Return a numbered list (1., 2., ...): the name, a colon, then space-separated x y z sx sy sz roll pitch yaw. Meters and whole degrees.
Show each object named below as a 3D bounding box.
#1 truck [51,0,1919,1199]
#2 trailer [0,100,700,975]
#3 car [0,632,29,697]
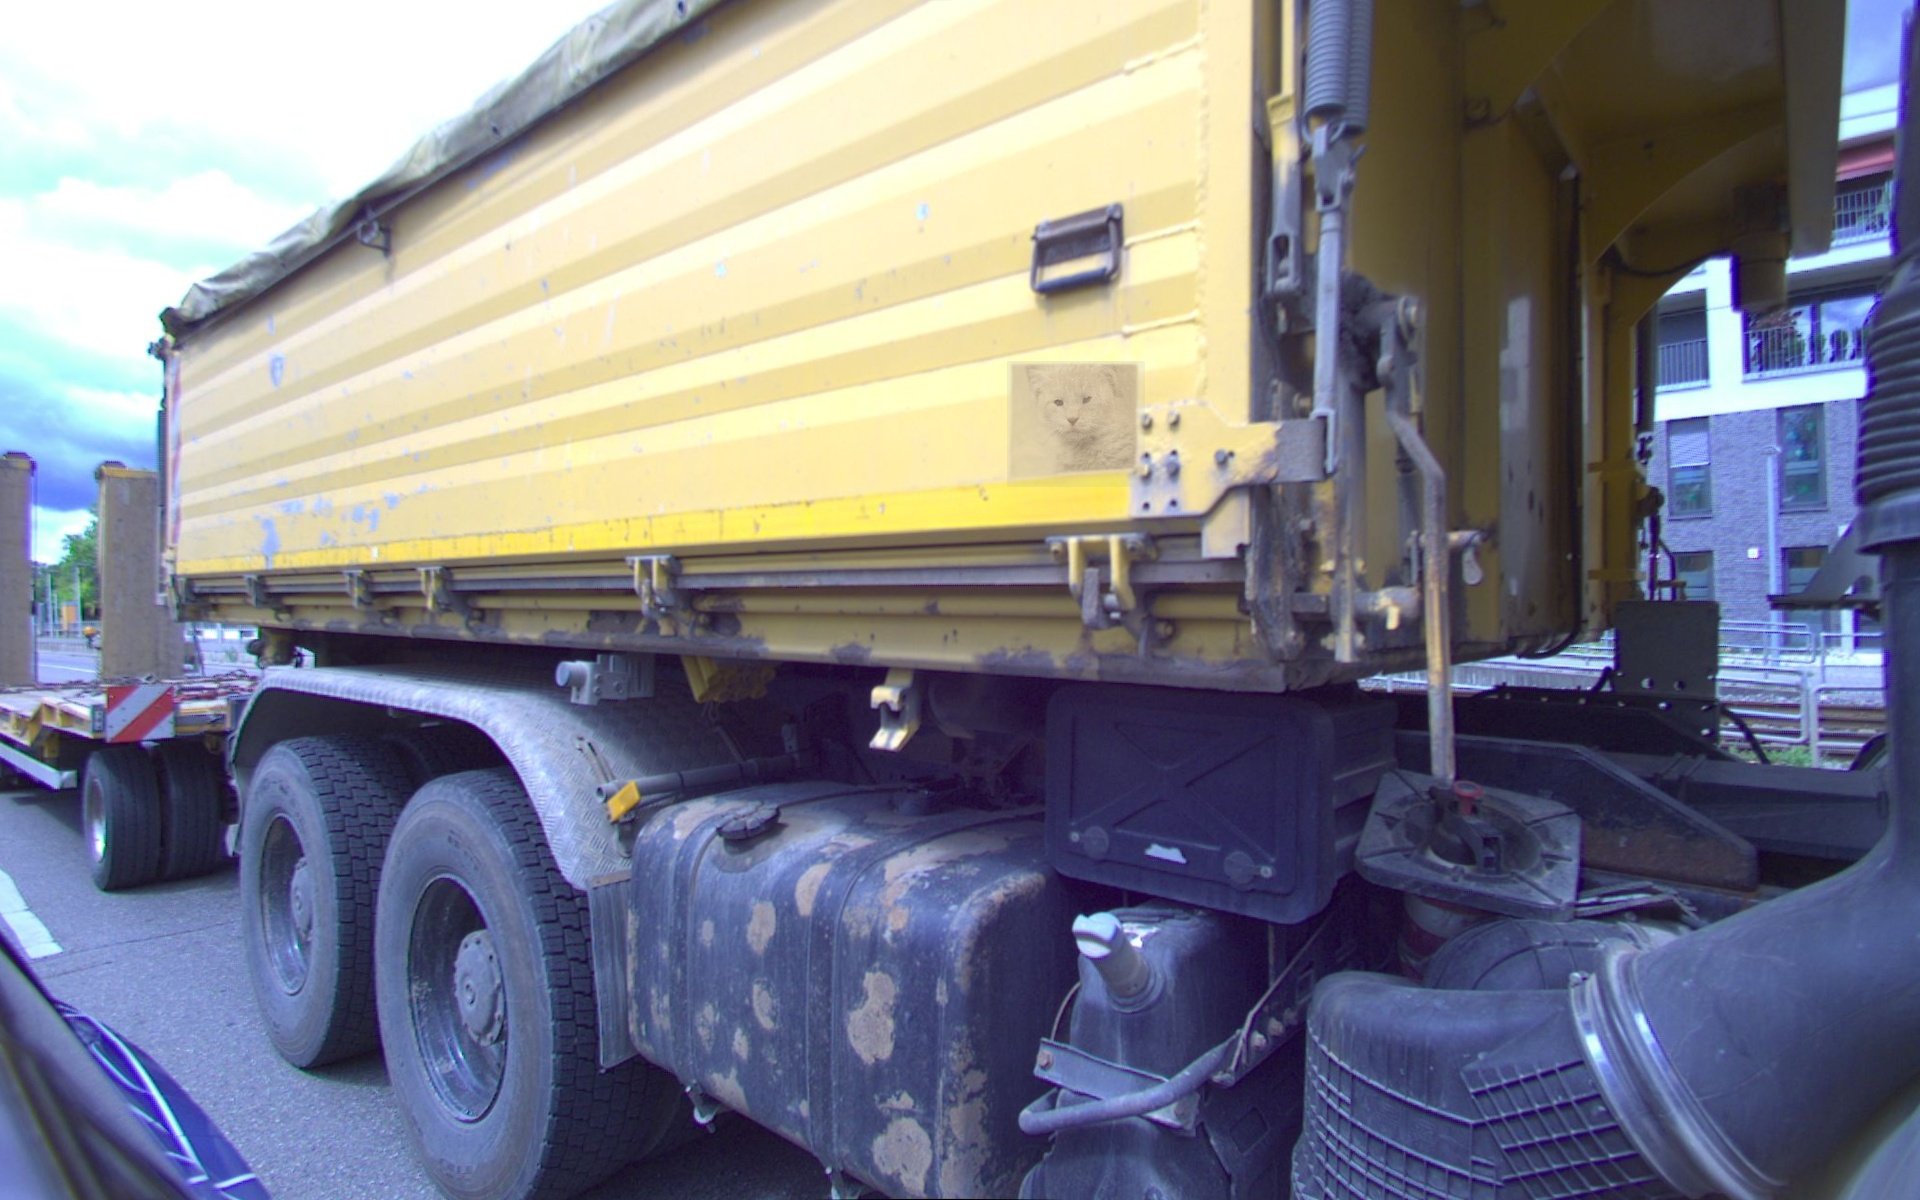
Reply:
1. truck: 0.138 -0.229 2.911 7.999 3.420 3.019 -2 -1 40
2. trailer: -6.873 -0.143 9.018 10.957 3.726 3.018 -2 -1 40
3. car: -22.851 1.475 23.251 3.784 1.427 1.761 -2 -1 41
